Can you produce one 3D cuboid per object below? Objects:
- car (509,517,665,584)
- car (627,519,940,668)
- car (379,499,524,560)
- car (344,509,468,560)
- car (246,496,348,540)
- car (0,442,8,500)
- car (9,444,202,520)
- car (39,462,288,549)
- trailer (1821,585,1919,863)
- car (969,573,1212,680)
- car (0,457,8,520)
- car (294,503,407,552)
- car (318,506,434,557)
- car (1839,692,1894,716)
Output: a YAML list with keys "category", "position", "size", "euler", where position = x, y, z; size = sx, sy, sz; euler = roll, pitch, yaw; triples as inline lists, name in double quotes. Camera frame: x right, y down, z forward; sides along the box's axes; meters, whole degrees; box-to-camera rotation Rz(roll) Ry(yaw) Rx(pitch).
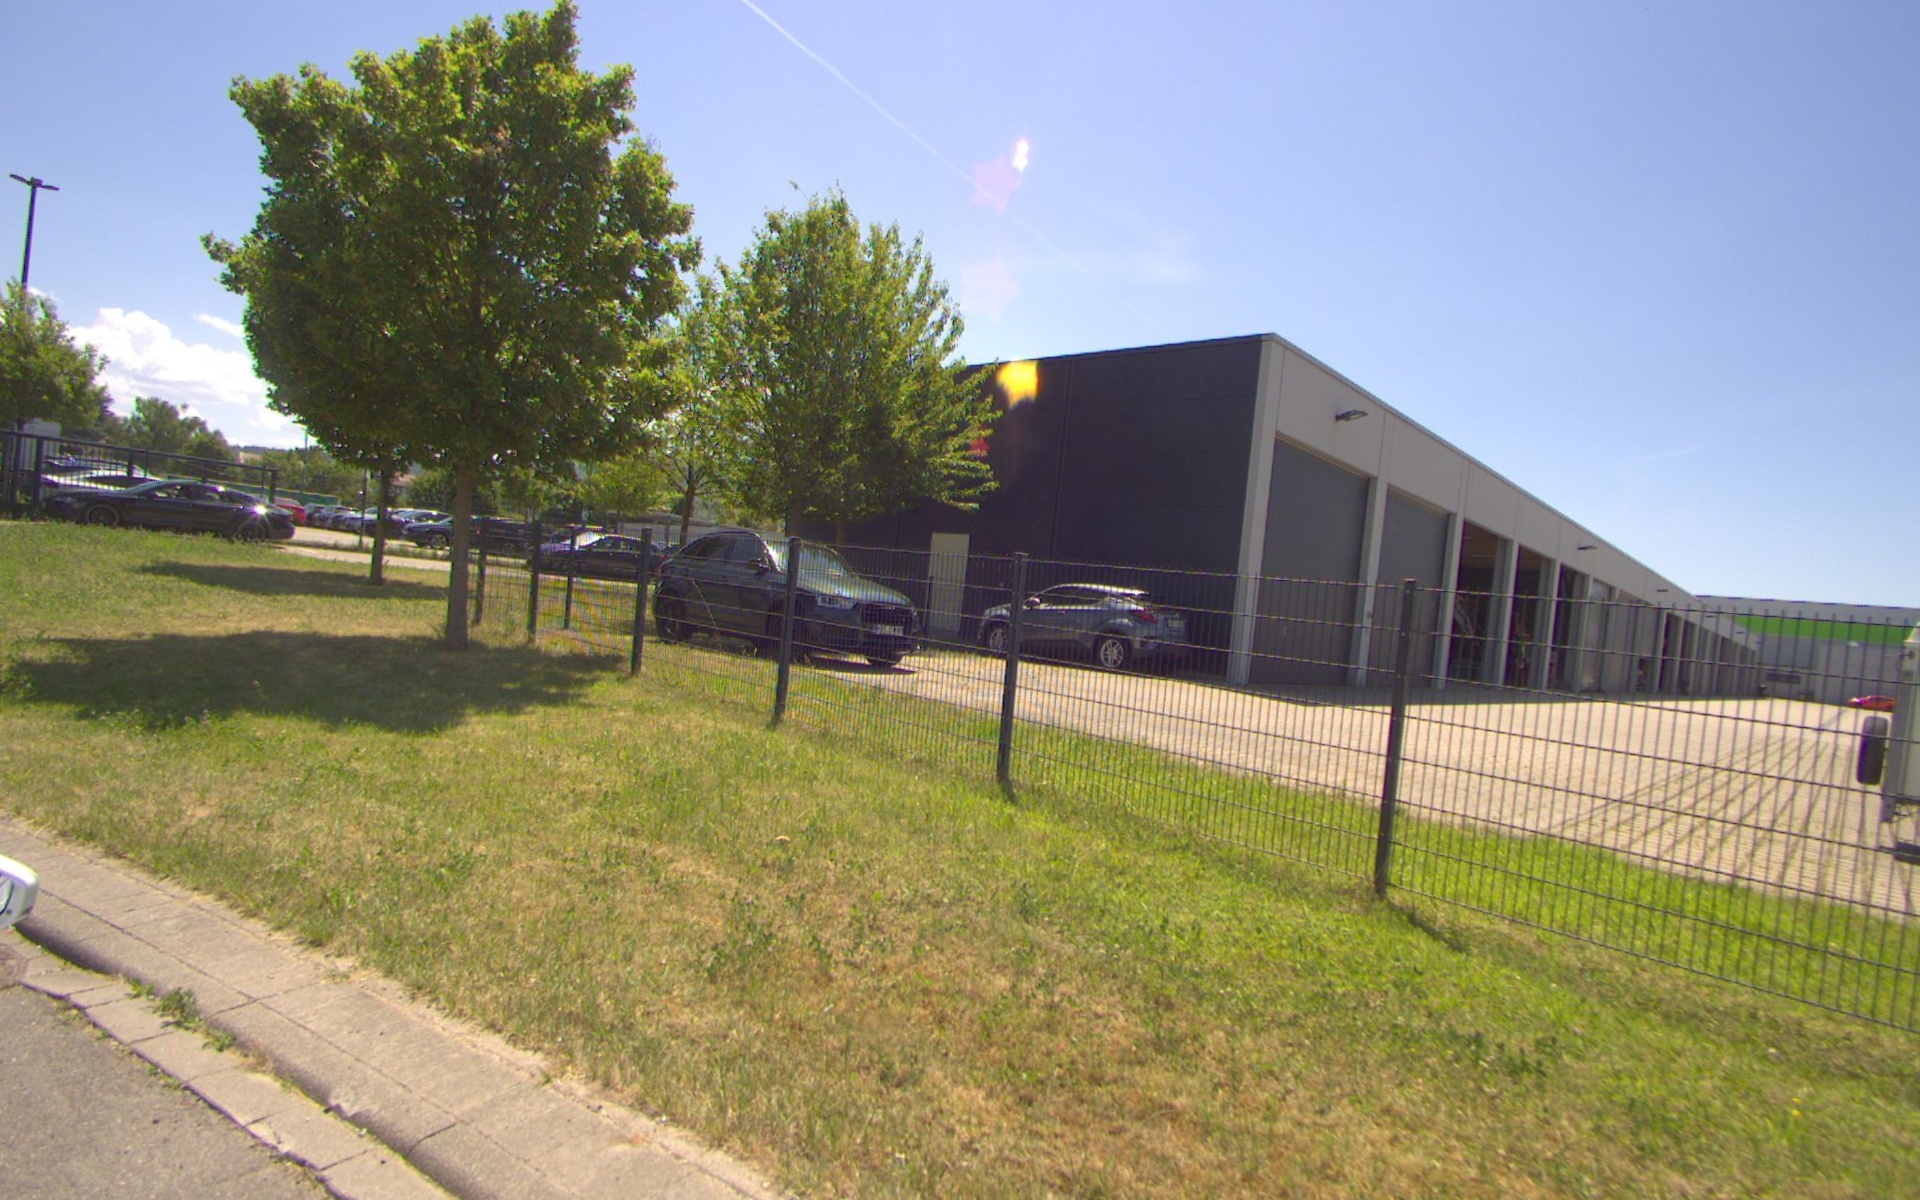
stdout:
- category: "car"
  position: [-12.116, -1.582, 32.887]
  size: [1.756, 1.587, 4.380]
  euler: [9, 2, 44]
- category: "car"
  position: [-2.466, -0.143, 13.365]
  size: [4.225, 1.621, 1.771]
  euler: [5, 0, 42]
- category: "car"
  position: [-19.349, -2.663, 38.440]
  size: [1.970, 1.710, 4.459]
  euler: [7, 1, 37]
- category: "car"
  position: [-22.929, -2.707, 41.735]
  size: [2.082, 1.576, 3.981]
  euler: [7, 1, 40]
- category: "car"
  position: [-34.703, -4.274, 52.725]
  size: [1.970, 1.710, 3.984]
  euler: [7, 1, 37]
- category: "car"
  position: [-30.121, -3.998, 28.326]
  size: [1.940, 1.651, 4.602]
  euler: [8, 1, 41]
- category: "car"
  position: [-25.727, -3.516, 30.408]
  size: [1.770, 1.651, 4.191]
  euler: [7, 1, 41]
- category: "car"
  position: [-19.347, -2.270, 24.596]
  size: [1.757, 1.419, 4.545]
  euler: [9, 2, 44]
- category: "trailer"
  position: [8.777, 1.165, 7.201]
  size: [3.688, 2.024, 1.845]
  euler: [9, 2, 44]
- category: "car"
  position: [2.334, 0.452, 18.704]
  size: [4.115, 1.586, 1.771]
  euler: [5, 0, 42]
- category: "car"
  position: [-22.928, -2.663, 21.149]
  size: [1.756, 1.367, 4.121]
  euler: [9, 2, 44]
- category: "car"
  position: [-28.462, -3.363, 47.069]
  size: [1.970, 1.710, 3.984]
  euler: [7, 1, 37]
- category: "car"
  position: [-26.165, -3.052, 45.143]
  size: [1.970, 1.710, 3.982]
  euler: [7, 1, 38]
- category: "car"
  position: [92.012, 10.556, 102.164]
  size: [1.989, 1.792, 3.950]
  euler: [9, -2, -44]
